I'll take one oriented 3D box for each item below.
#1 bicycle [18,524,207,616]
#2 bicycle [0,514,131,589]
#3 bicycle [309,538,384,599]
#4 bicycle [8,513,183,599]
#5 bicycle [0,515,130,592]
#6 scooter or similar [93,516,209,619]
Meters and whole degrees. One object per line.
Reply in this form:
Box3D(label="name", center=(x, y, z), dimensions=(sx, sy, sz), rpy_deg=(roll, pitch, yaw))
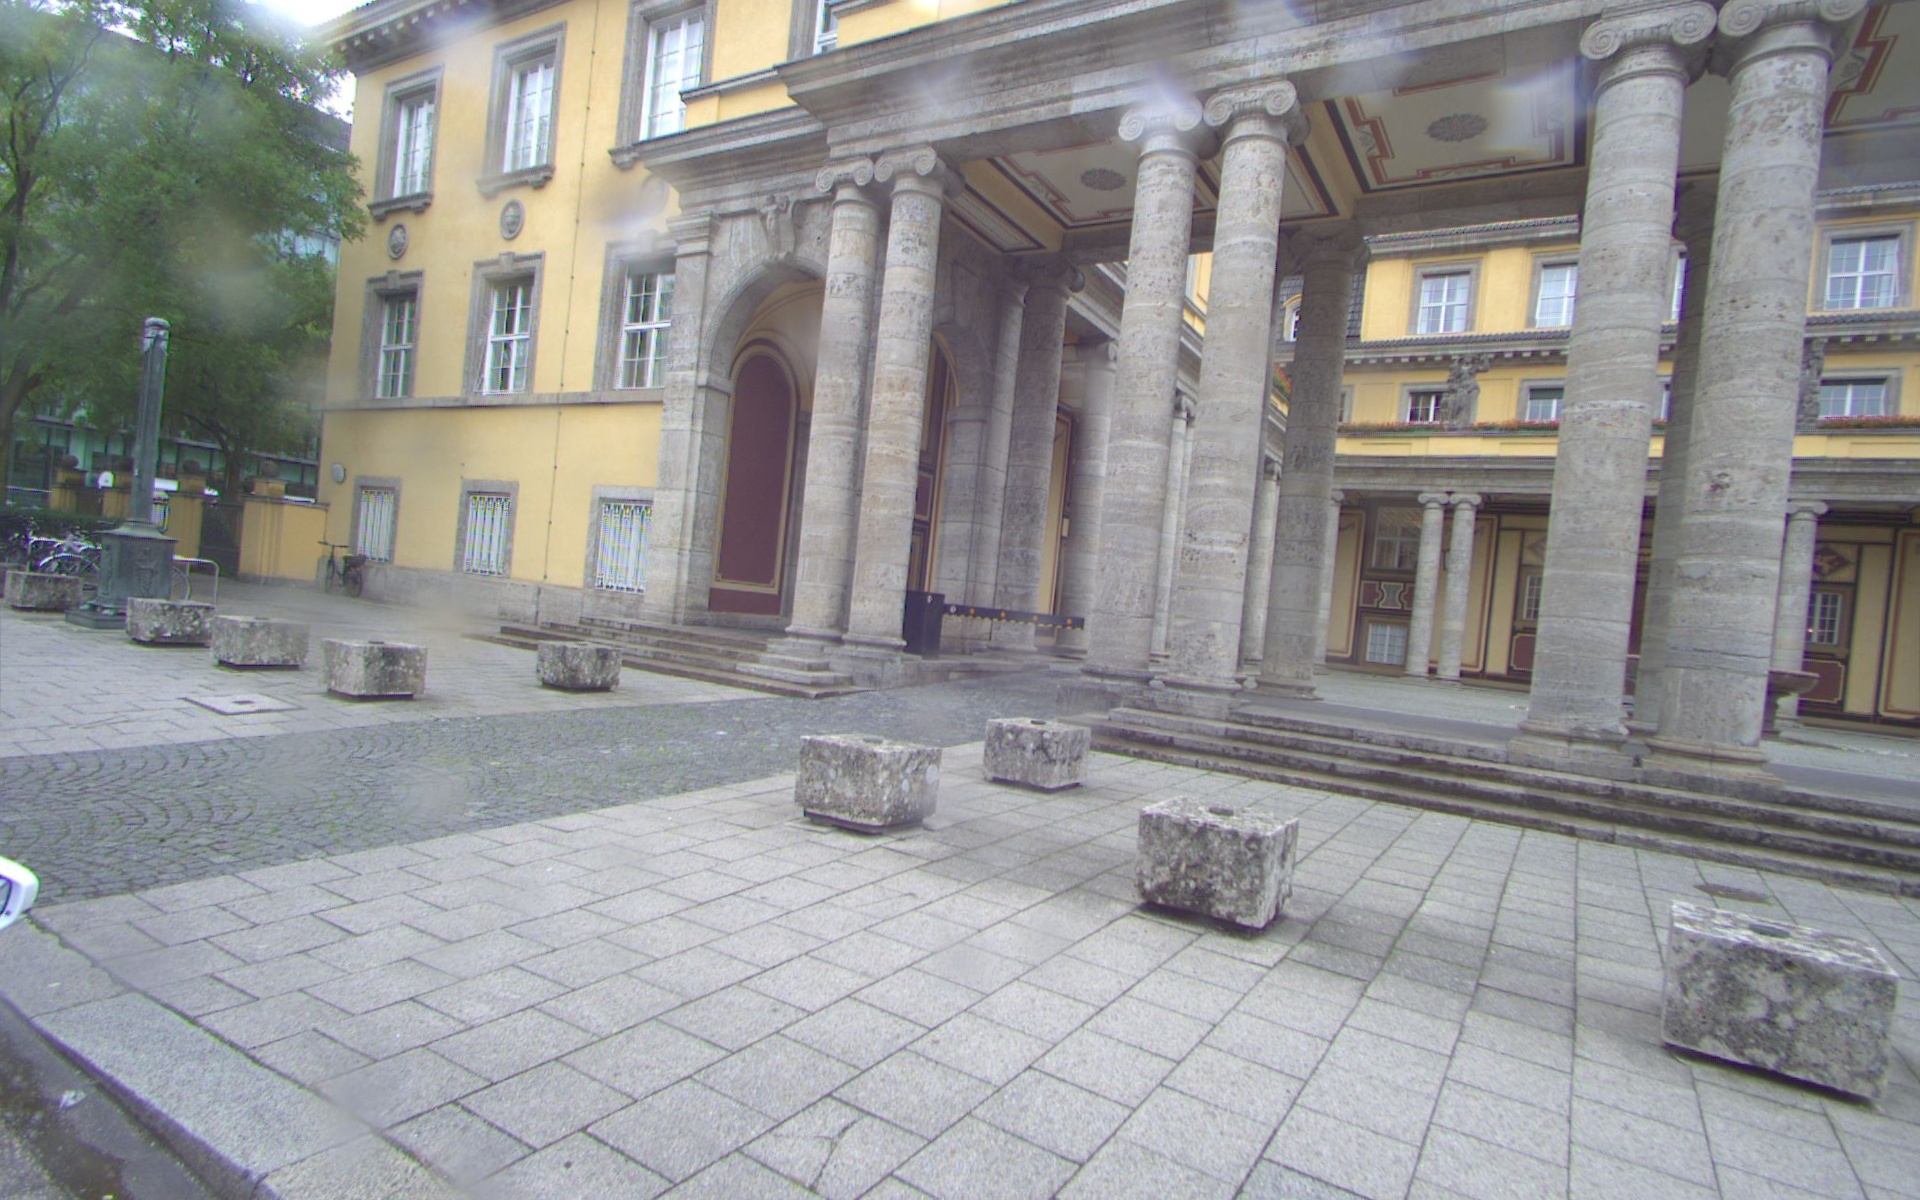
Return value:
Box3D(label="bicycle", center=(-11.742, -0.383, 14.017), dimensions=(0.463, 1.128, 1.933), rpy_deg=(6, 1, 29))
Box3D(label="bicycle", center=(-15.549, -0.818, 17.269), dimensions=(0.464, 1.128, 1.932), rpy_deg=(7, 1, 33))
Box3D(label="bicycle", center=(-13.741, -0.705, 22.515), dimensions=(1.870, 1.169, 0.542), rpy_deg=(7, 2, 31))
Box3D(label="bicycle", center=(-13.141, -0.639, 15.360), dimensions=(0.464, 1.128, 1.931), rpy_deg=(7, 1, 34))
Box3D(label="bicycle", center=(-15.035, -0.759, 16.627), dimensions=(0.464, 1.128, 1.931), rpy_deg=(7, 1, 34))
Box3D(label="scooter or similar", center=(-10.676, -0.422, 13.307), dimensions=(0.996, 1.238, 0.536), rpy_deg=(5, 2, -13))
